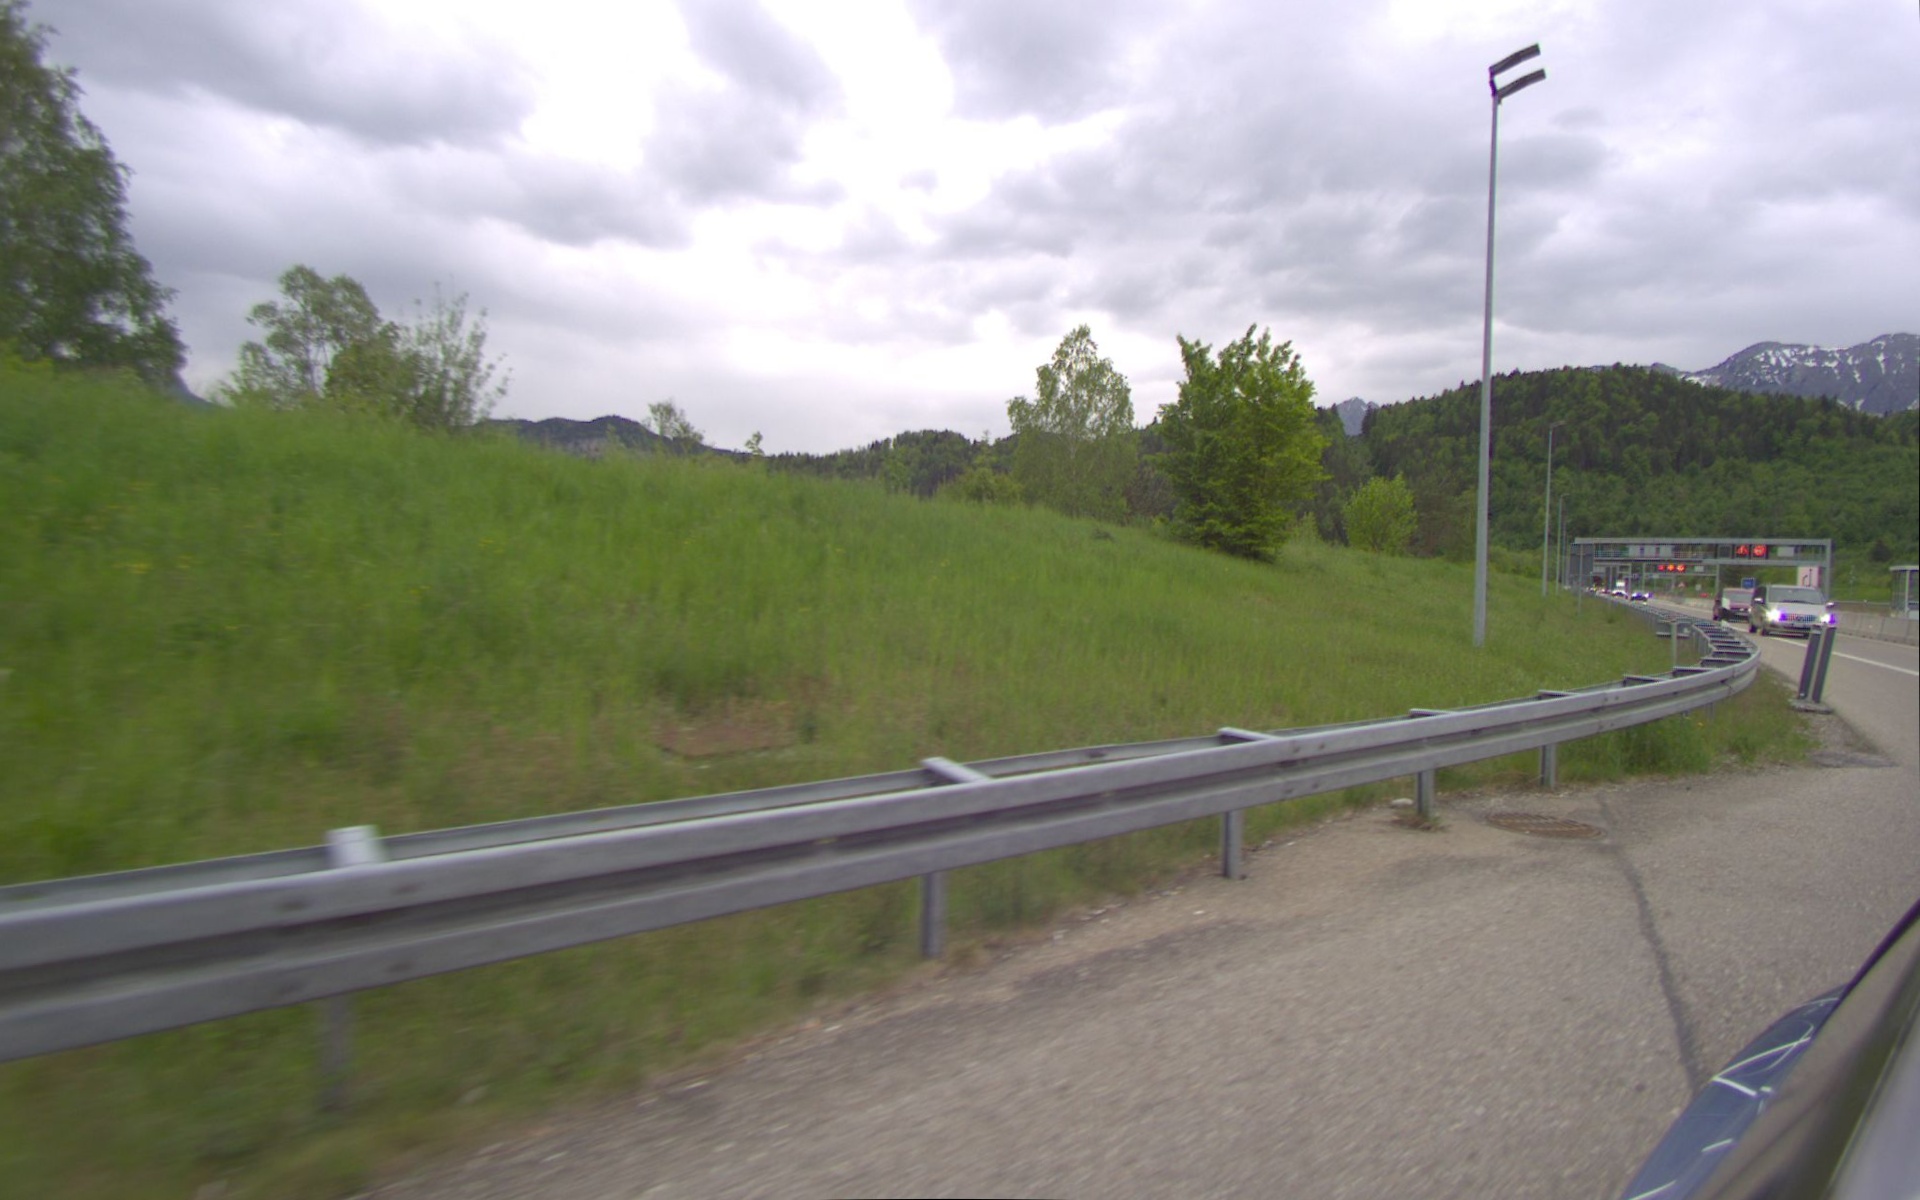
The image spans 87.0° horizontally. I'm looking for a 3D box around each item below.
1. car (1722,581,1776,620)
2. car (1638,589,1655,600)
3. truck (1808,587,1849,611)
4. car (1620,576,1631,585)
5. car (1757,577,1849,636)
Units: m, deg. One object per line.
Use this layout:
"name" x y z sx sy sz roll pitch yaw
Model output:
"car" 41.696 0.001 53.540 1.745 1.827 3.954 5 3 32
"car" 93.690 -0.825 138.221 1.653 1.353 3.749 5 3 32
"truck" 96.124 -0.140 112.059 2.346 2.509 5.922 3 3 31
"car" 135.469 -4.048 206.037 1.623 1.718 3.451 5 3 36
"car" 30.521 0.154 36.781 1.912 1.904 5.077 4 3 34
